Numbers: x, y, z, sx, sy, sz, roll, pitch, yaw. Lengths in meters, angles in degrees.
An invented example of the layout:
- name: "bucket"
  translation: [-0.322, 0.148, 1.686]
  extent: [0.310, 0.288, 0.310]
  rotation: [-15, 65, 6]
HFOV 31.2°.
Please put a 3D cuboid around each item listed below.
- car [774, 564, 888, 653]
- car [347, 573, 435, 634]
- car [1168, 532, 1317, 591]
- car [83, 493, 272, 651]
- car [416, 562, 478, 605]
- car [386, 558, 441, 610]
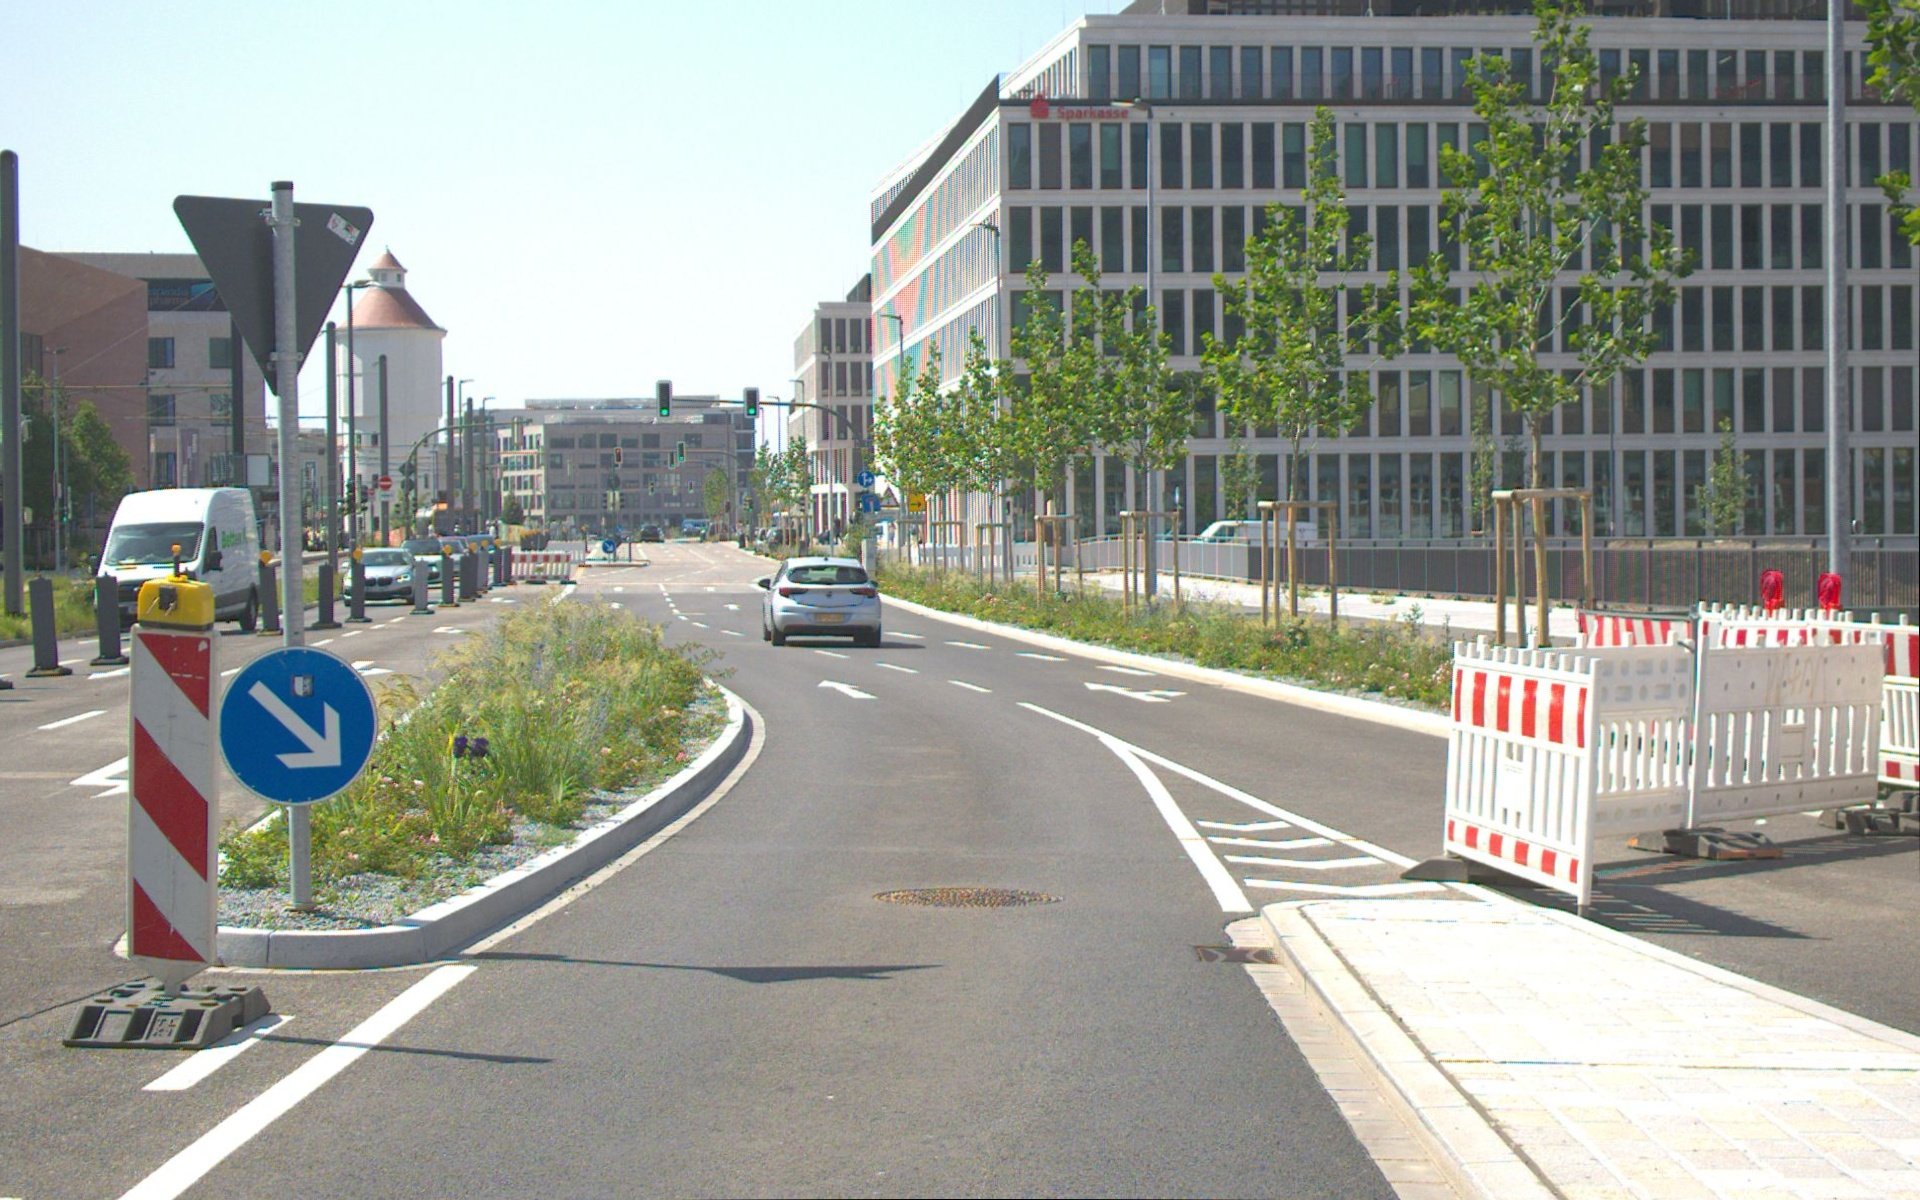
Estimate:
- name: "car"
  translation: [-2.163, 0.140, 56.978]
  extent: [1.771, 1.390, 3.532]
  rotation: [1, 0, -4]
- name: "car"
  translation: [-14.555, 0.059, 88.124]
  extent: [1.673, 1.438, 4.469]
  rotation: [-2, 1, -3]
- name: "car"
  translation: [11.762, -1.625, 143.137]
  extent: [5.836, 2.262, 2.147]
  rotation: [2, 1, -5]
- name: "car"
  translation: [-14.432, -0.539, 63.788]
  extent: [2.077, 2.730, 5.987]
  rotation: [-2, 1, 0]
- name: "car"
  translation: [-17.755, -0.596, 119.147]
  extent: [1.580, 1.411, 4.297]
  rotation: [-1, 1, -1]
- name: "car"
  translation: [-17.135, -0.506, 107.912]
  extent: [1.580, 1.525, 3.621]
  rotation: [-3, 1, -8]
